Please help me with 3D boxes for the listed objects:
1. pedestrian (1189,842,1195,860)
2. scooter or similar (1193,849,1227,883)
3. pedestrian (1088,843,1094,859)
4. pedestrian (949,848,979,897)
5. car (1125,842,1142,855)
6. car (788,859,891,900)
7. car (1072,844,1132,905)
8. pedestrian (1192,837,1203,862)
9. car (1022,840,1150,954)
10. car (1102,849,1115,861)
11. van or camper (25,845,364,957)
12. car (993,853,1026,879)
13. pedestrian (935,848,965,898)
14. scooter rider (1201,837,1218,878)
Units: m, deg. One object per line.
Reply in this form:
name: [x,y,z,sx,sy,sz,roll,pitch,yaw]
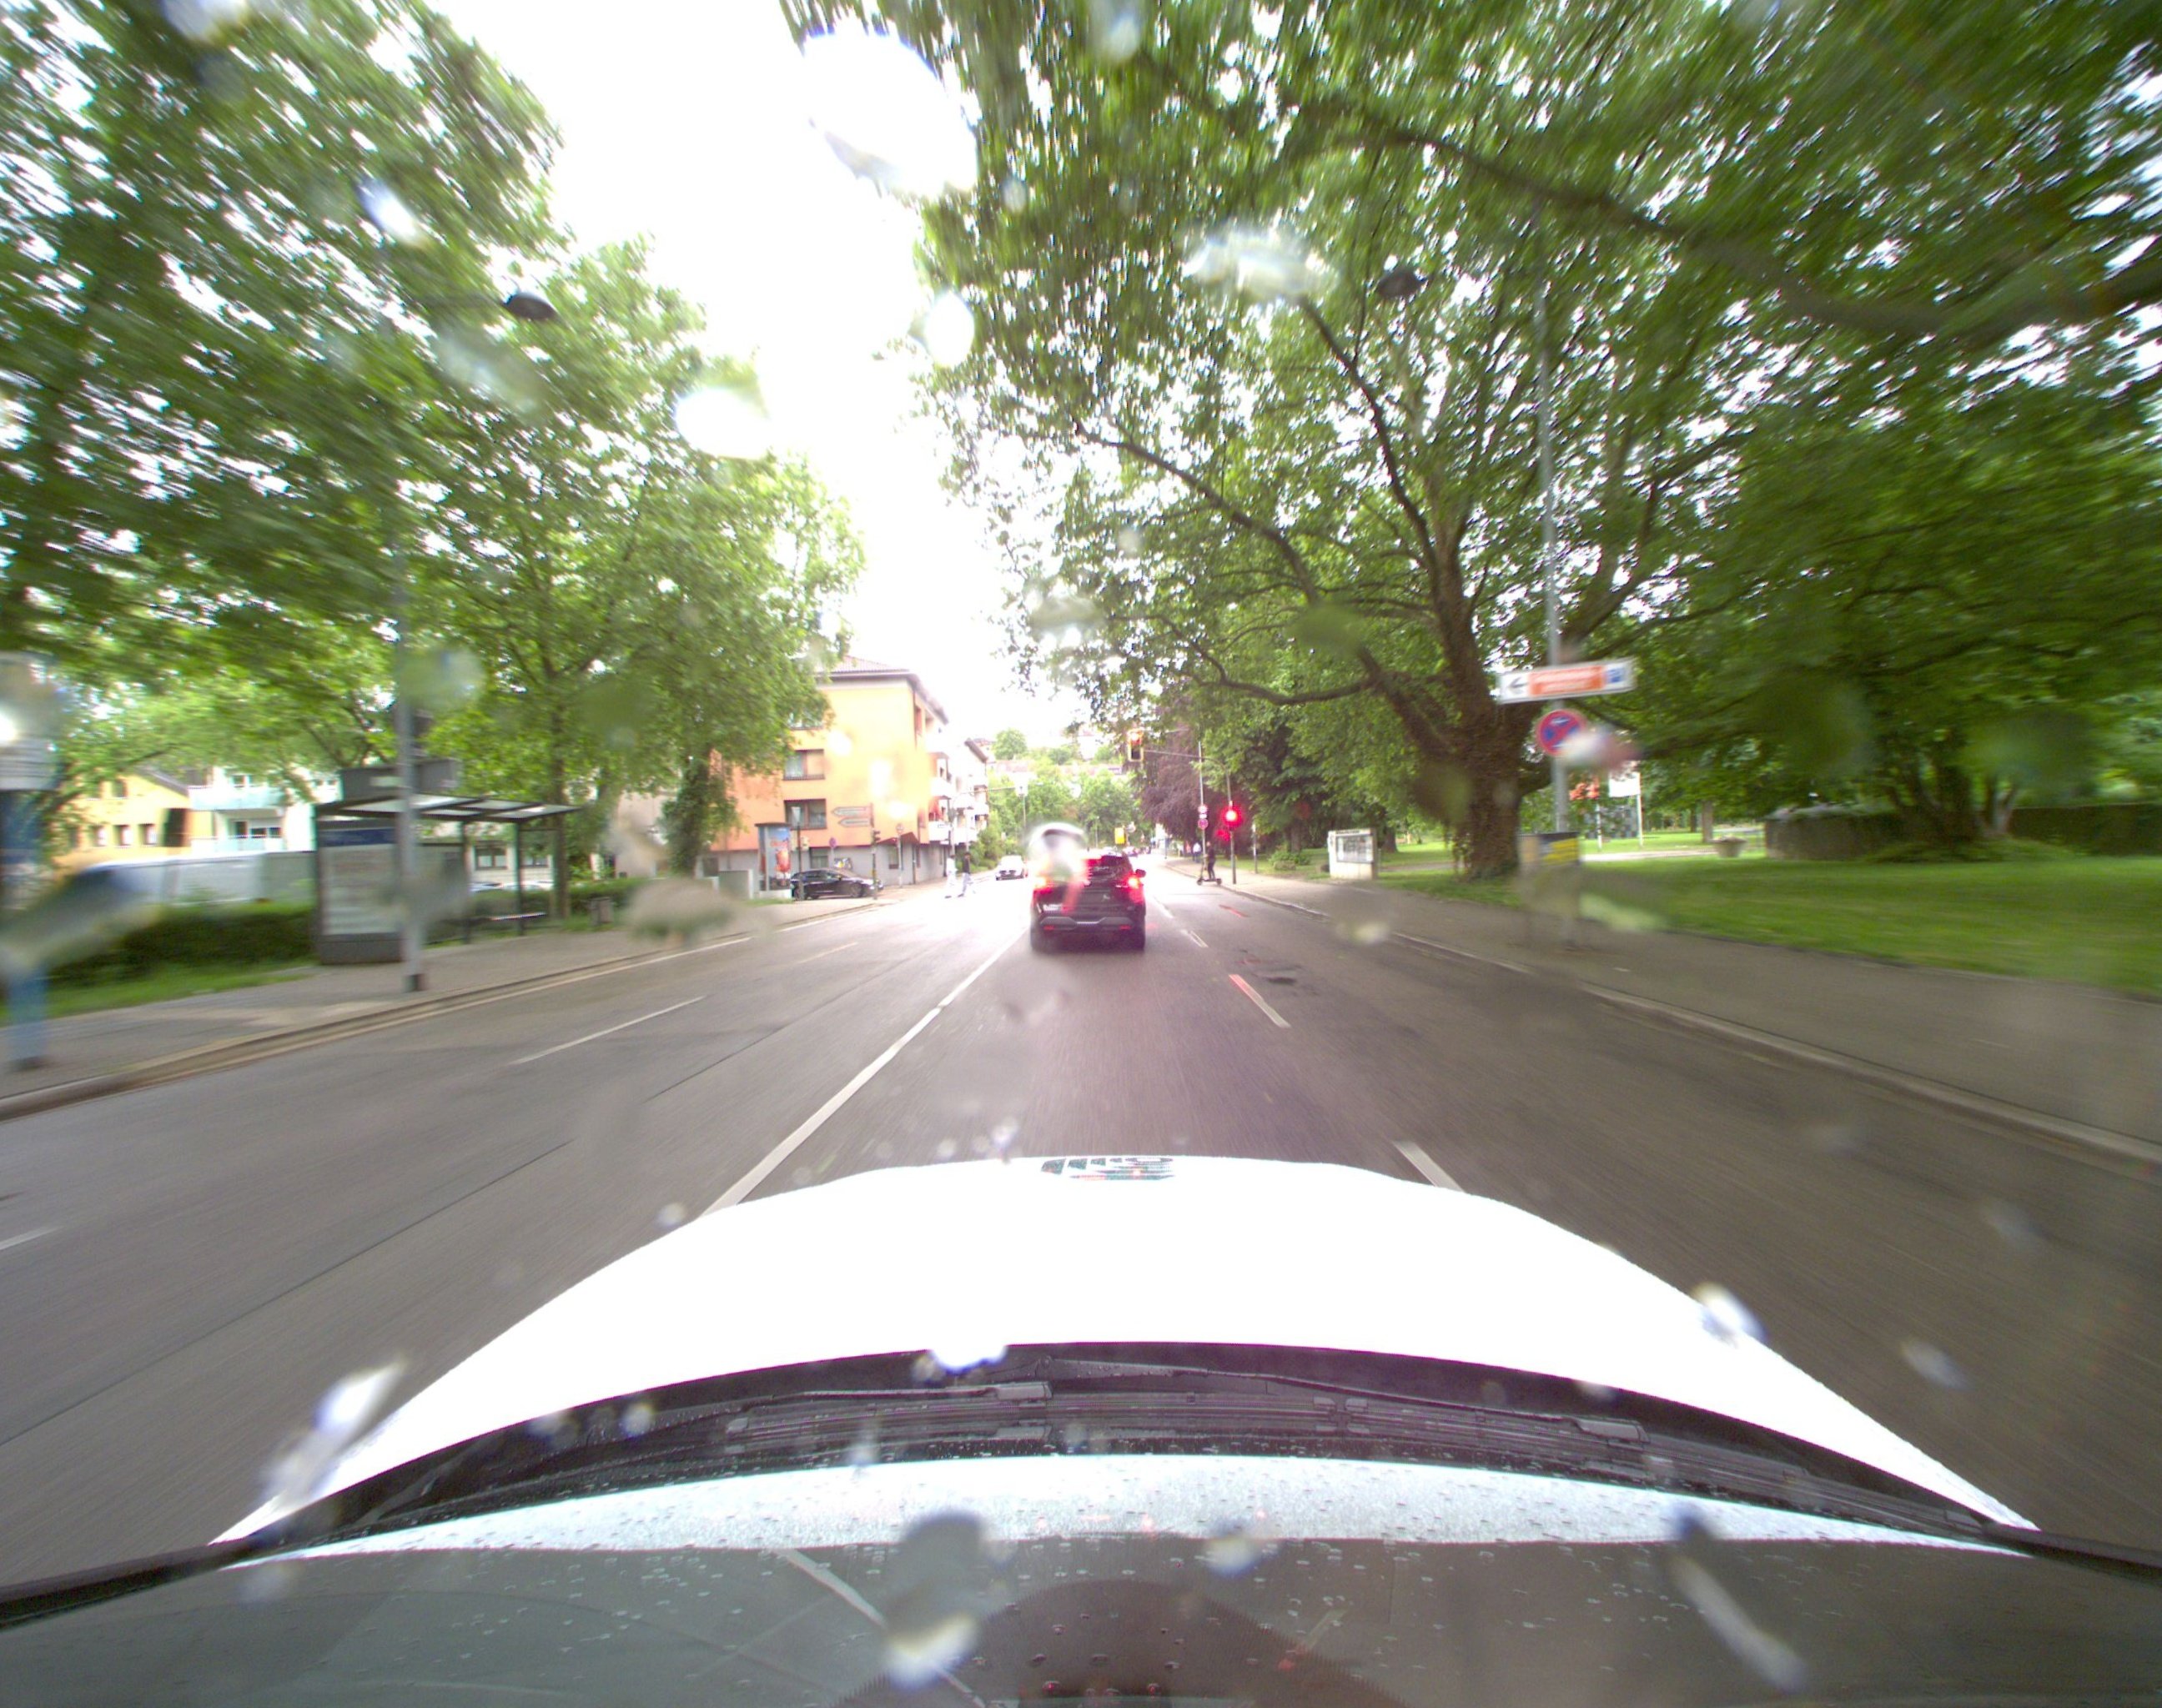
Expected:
pedestrian: [9.728,-0.269,71.346,0.388,1.502,0.559,-3,0,2]
scooter or similar: [5.670,0.538,35.768,1.384,1.446,0.820,-2,-1,13]
pedestrian: [1.143,-0.296,93.615,0.507,1.802,0.619,-3,0,0]
pedestrian: [-4.726,0.725,32.909,1.035,1.876,0.656,-4,0,-10]
car: [7.022,-0.723,108.508,1.983,1.735,4.007,0,0,7]
car: [-11.123,1.153,37.736,4.112,1.625,1.851,-3,0,-1]
car: [0.673,0.599,26.017,1.692,1.745,3.642,-3,0,2]
pedestrian: [9.623,-0.339,67.456,0.722,2.013,0.852,-3,0,1]
car: [0.140,0.633,14.209,1.906,1.680,4.002,-1,0,2]
car: [3.671,0.084,110.243,1.628,1.532,3.969,-3,0,2]
van or camper: [-17.911,0.897,16.648,4.582,1.949,1.999,-2,0,-1]
car: [-4.570,0.722,52.555,1.791,1.533,3.865,-3,0,-2]
pedestrian: [-5.134,0.722,31.993,1.035,1.876,0.656,-4,0,-10]
scooter rider: [5.645,0.170,35.771,0.638,1.766,0.738,-2,-1,14]
